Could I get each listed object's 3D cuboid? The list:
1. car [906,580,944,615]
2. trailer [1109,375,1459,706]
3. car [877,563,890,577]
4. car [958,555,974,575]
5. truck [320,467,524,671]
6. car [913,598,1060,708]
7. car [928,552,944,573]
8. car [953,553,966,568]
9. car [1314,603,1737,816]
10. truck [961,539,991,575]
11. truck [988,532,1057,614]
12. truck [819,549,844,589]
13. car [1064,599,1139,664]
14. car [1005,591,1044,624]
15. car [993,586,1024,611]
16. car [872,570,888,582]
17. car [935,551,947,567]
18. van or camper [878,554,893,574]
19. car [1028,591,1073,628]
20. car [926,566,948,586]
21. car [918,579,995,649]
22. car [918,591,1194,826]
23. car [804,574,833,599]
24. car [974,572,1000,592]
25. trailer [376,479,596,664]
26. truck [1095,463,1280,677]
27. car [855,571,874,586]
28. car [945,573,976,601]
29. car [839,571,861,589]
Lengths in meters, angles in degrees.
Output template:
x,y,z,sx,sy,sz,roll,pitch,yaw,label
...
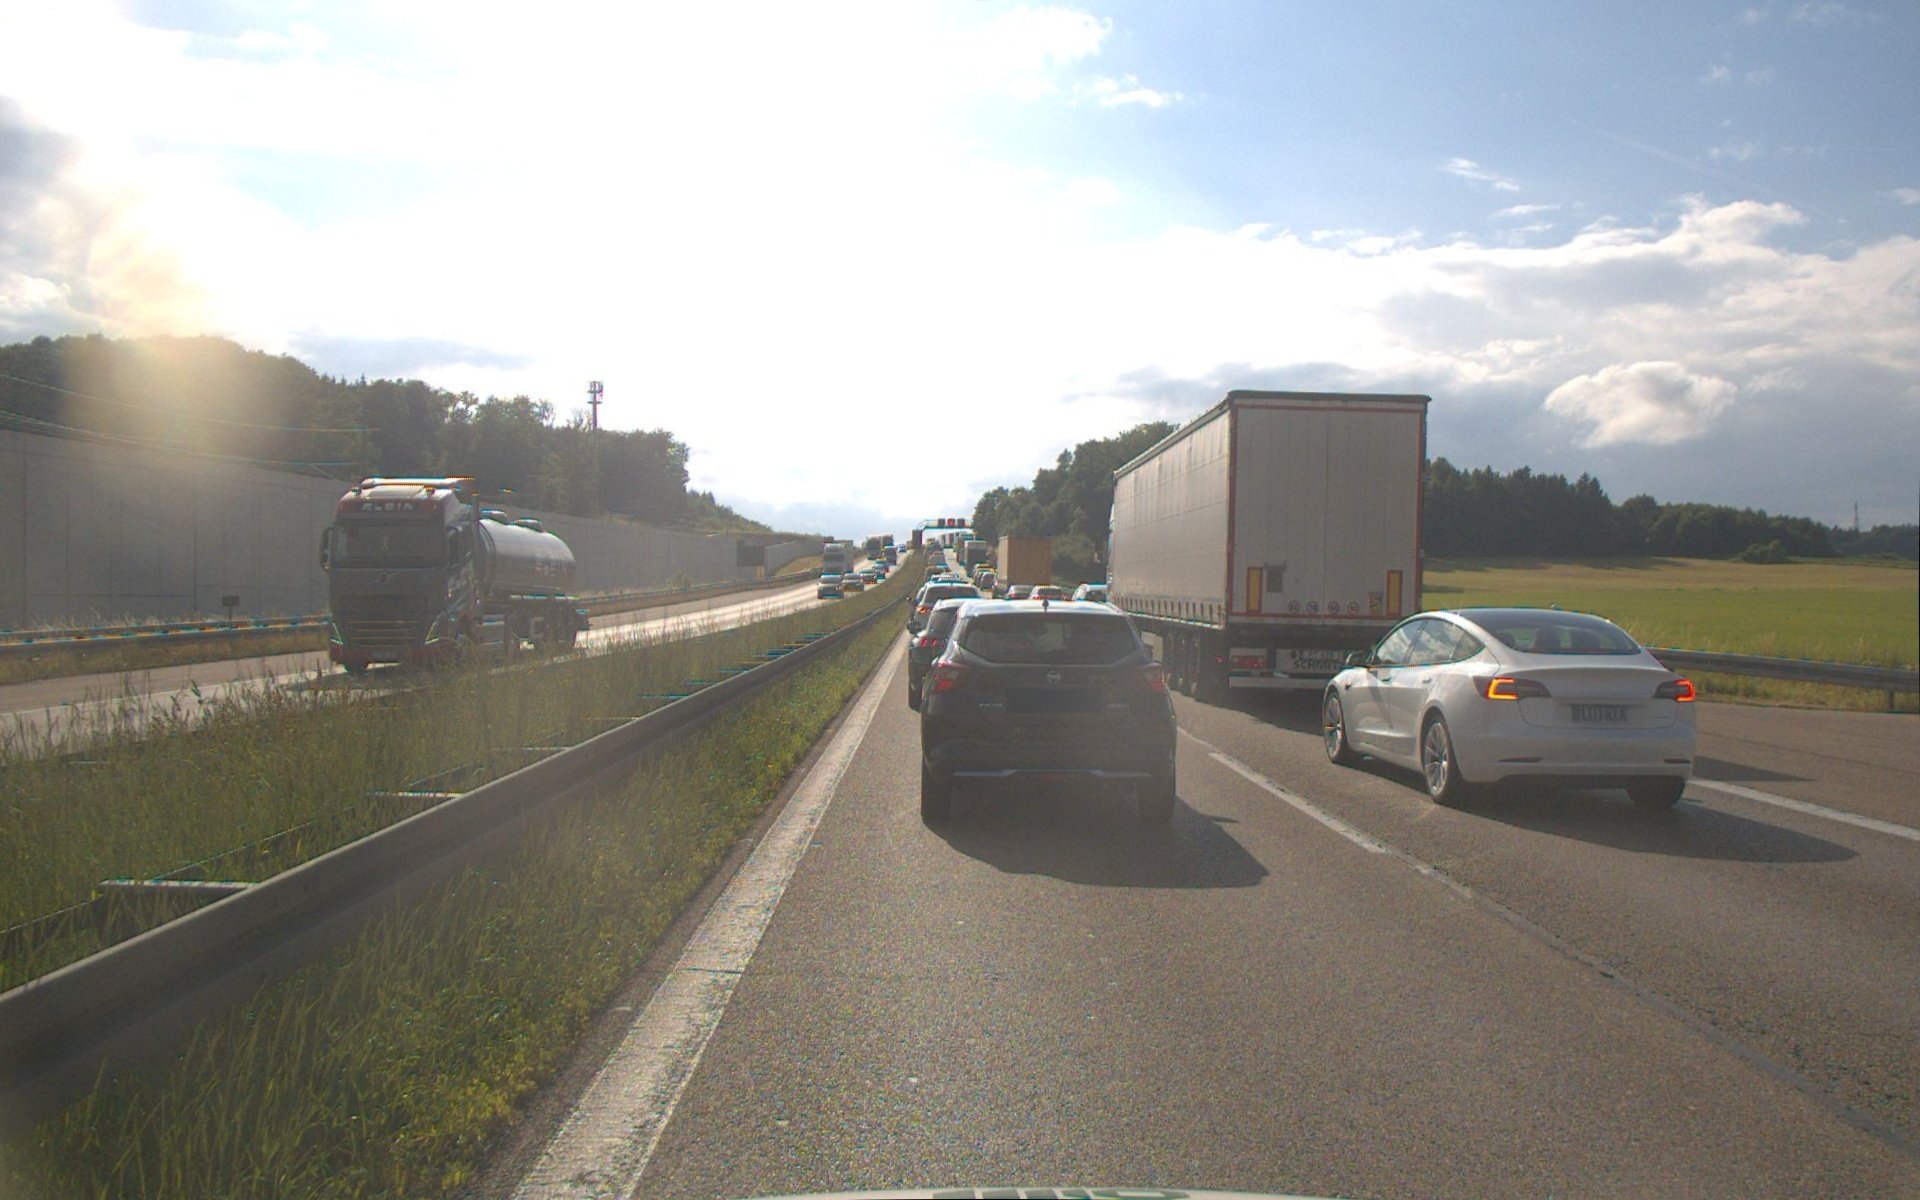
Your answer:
x,y,z,sx,sy,sz,roll,pitch,yaw,label
-1.707,-0.145,82.080,1.835,1.673,4.232,0,1,-1,car
4.646,-0.641,27.311,3.067,4.081,13.364,1,-1,0,trailer
-10.161,-3.990,220.550,1.674,1.736,4.172,0,0,-2,car
0.742,-4.263,200.089,1.835,2.196,5.211,0,3,-1,car
-11.375,-0.614,35.522,2.530,3.991,5.721,-1,0,-1,truck
0.309,0.661,22.779,1.835,1.381,4.231,0,0,-1,car
-2.685,-4.260,186.066,1.835,2.196,5.211,0,3,-1,car
-0.114,-6.089,255.270,1.835,2.196,5.211,0,3,-1,car
4.341,0.755,13.502,1.753,1.418,4.434,0,0,-3,car
2.096,-5.862,225.823,3.394,4.656,12.437,1,1,-2,truck
3.662,-1.491,100.717,3.230,4.657,12.434,1,-1,-2,truck
-14.001,-3.325,180.626,2.332,4.254,5.931,0,0,-1,truck
3.750,0.803,44.427,1.663,1.639,4.437,0,0,0,car
3.398,0.392,87.242,1.835,1.673,4.232,0,1,-1,car
3.266,-0.129,111.927,1.836,1.673,4.230,0,1,-3,car
-9.241,-2.764,191.538,1.706,1.381,4.231,0,0,-1,car
-2.871,-6.271,251.724,1.835,2.196,5.211,0,3,-1,car
-11.716,-5.684,259.662,2.047,2.869,5.894,1,-1,-1,van or camper
4.239,0.444,77.802,1.835,1.673,4.231,0,0,-1,car
-2.007,-2.082,142.096,1.835,1.673,4.231,0,2,-2,car
-0.108,0.336,41.320,1.835,1.673,4.231,0,0,-1,car
0.581,0.681,12.508,1.737,1.476,4.231,0,0,-1,car
-10.192,-0.950,119.230,1.744,1.767,4.101,0,0,-1,car
2.332,-1.559,143.186,1.836,1.673,4.229,0,2,-4,car
-11.518,-0.619,41.434,2.535,3.970,10.862,-1,0,-1,trailer
4.601,-0.544,34.462,3.069,4.086,5.163,1,-1,0,truck
-9.832,-2.183,170.982,1.733,1.505,3.828,0,0,0,car
0.015,-0.827,101.815,1.835,1.673,4.232,0,2,-1,car
-9.474,-1.686,142.408,1.663,1.525,4.426,0,0,-1,car
